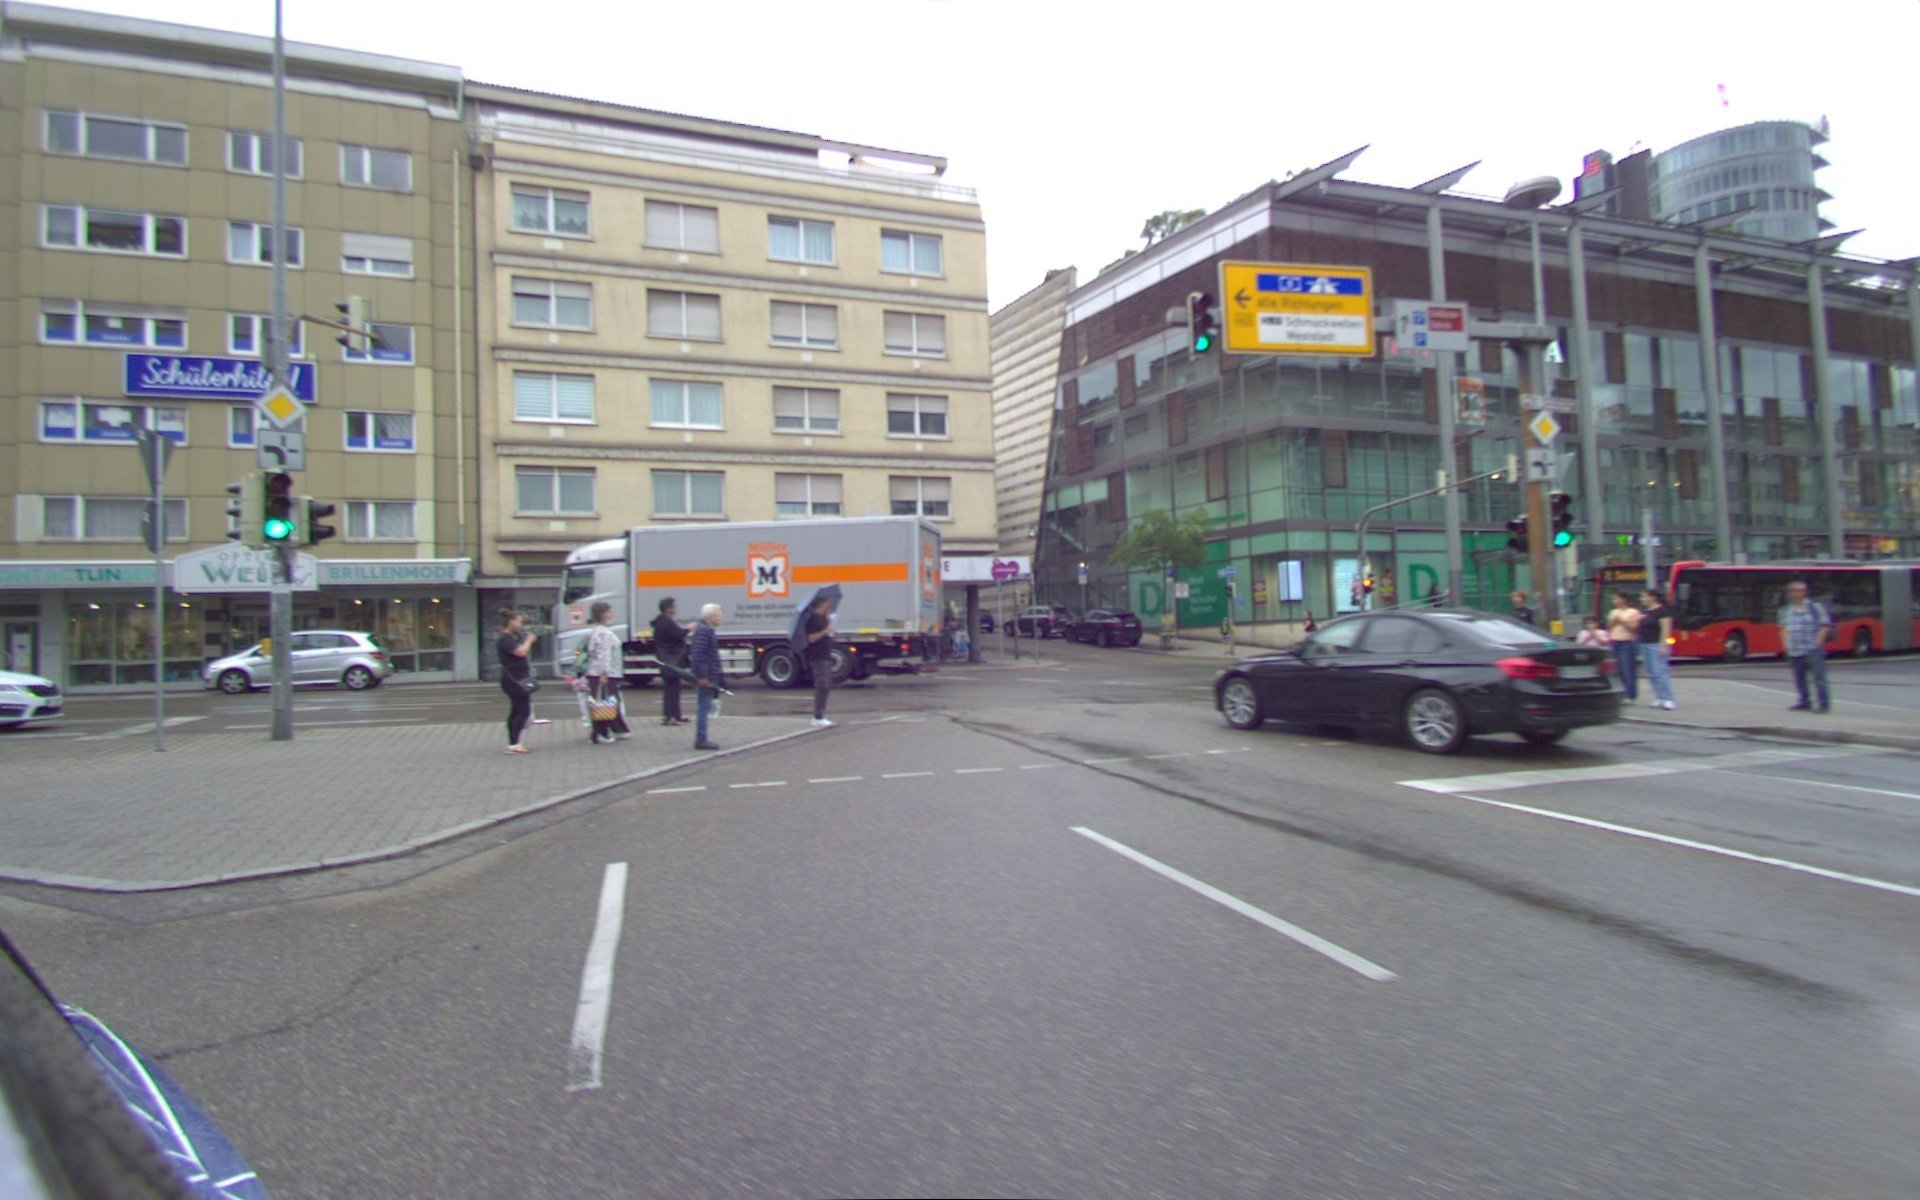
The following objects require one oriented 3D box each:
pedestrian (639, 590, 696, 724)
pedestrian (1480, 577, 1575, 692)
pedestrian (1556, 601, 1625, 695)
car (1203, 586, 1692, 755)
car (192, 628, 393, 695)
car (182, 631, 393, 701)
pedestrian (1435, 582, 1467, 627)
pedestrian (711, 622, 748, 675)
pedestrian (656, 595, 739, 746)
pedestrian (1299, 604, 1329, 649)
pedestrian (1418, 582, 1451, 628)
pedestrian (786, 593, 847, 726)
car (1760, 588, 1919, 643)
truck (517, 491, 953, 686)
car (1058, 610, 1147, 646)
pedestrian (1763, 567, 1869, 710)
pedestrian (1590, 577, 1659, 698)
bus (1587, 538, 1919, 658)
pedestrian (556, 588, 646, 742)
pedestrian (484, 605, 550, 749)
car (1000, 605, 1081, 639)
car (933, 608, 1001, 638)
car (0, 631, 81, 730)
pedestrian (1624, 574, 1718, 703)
[{"bbox_3d":[-3.917,0.747,13.556,0.695,1.724,0.788,1,-2,-16],"label":"pedestrian"},{"bbox_3d":[9.209,0.550,16.438,0.838,1.801,1.016,0,-1,-27],"label":"pedestrian"},{"bbox_3d":[9.343,0.704,15.008,0.578,1.349,0.634,0,-1,-27],"label":"pedestrian"},{"bbox_3d":[4.939,0.681,11.140,1.965,1.436,4.649,0,-2,-24],"label":"car"},{"bbox_3d":[-17.412,1.582,26.635,4.129,1.575,1.711,0,-2,-21],"label":"car"},{"bbox_3d":[-17.586,1.685,26.712,4.324,1.562,1.859,-1,0,-22],"label":"car"},{"bbox_3d":[22.093,0.222,45.547,0.835,1.996,0.880,0,-2,-21],"label":"pedestrian"},{"bbox_3d":[-7.230,1.524,31.765,0.841,1.640,0.768,-2,-2,26],"label":"pedestrian"},{"bbox_3d":[-2.876,0.751,11.060,0.840,1.580,0.717,0,-2,-16],"label":"pedestrian"},{"bbox_3d":[14.424,1.087,41.247,1.043,1.775,0.689,-2,-3,25],"label":"pedestrian"},{"bbox_3d":[21.199,0.227,45.234,0.958,1.996,0.886,0,-2,-21],"label":"pedestrian"},{"bbox_3d":[-1.924,0.780,13.520,0.682,1.705,0.761,1,-2,-16],"label":"pedestrian"},{"bbox_3d":[35.314,0.606,40.580,5.805,2.091,2.460,0,-1,-22],"label":"car"},{"bbox_3d":[-5.725,-0.110,25.665,10.670,4.366,2.842,-2,-2,15],"label":"truck"},{"bbox_3d":[6.539,1.282,46.939,1.774,1.558,4.310,0,-1,-31],"label":"car"},{"bbox_3d":[11.143,0.485,13.189,0.607,1.792,0.835,0,-1,-27],"label":"pedestrian"},{"bbox_3d":[9.488,0.529,14.464,0.493,1.681,0.572,-1,-2,-14],"label":"pedestrian"},{"bbox_3d":[28.210,-0.037,32.688,18.158,3.346,2.939,0,-2,-21],"label":"bus"},{"bbox_3d":[-4.141,0.724,11.747,0.899,1.685,0.984,-1,-1,-15],"label":"pedestrian"},{"bbox_3d":[-4.776,0.807,10.944,0.551,1.499,0.709,1,-2,-16],"label":"pedestrian"},{"bbox_3d":[4.078,1.124,51.969,1.866,1.558,4.394,-3,1,-31],"label":"car"},{"bbox_3d":[0.358,1.314,58.220,1.866,1.558,4.394,-3,1,-31],"label":"car"},{"bbox_3d":[-16.054,1.229,14.738,4.551,1.426,1.804,-1,-3,-22],"label":"car"},{"bbox_3d":[9.703,0.510,13.829,0.628,1.702,0.785,-1,-1,-12],"label":"pedestrian"}]
